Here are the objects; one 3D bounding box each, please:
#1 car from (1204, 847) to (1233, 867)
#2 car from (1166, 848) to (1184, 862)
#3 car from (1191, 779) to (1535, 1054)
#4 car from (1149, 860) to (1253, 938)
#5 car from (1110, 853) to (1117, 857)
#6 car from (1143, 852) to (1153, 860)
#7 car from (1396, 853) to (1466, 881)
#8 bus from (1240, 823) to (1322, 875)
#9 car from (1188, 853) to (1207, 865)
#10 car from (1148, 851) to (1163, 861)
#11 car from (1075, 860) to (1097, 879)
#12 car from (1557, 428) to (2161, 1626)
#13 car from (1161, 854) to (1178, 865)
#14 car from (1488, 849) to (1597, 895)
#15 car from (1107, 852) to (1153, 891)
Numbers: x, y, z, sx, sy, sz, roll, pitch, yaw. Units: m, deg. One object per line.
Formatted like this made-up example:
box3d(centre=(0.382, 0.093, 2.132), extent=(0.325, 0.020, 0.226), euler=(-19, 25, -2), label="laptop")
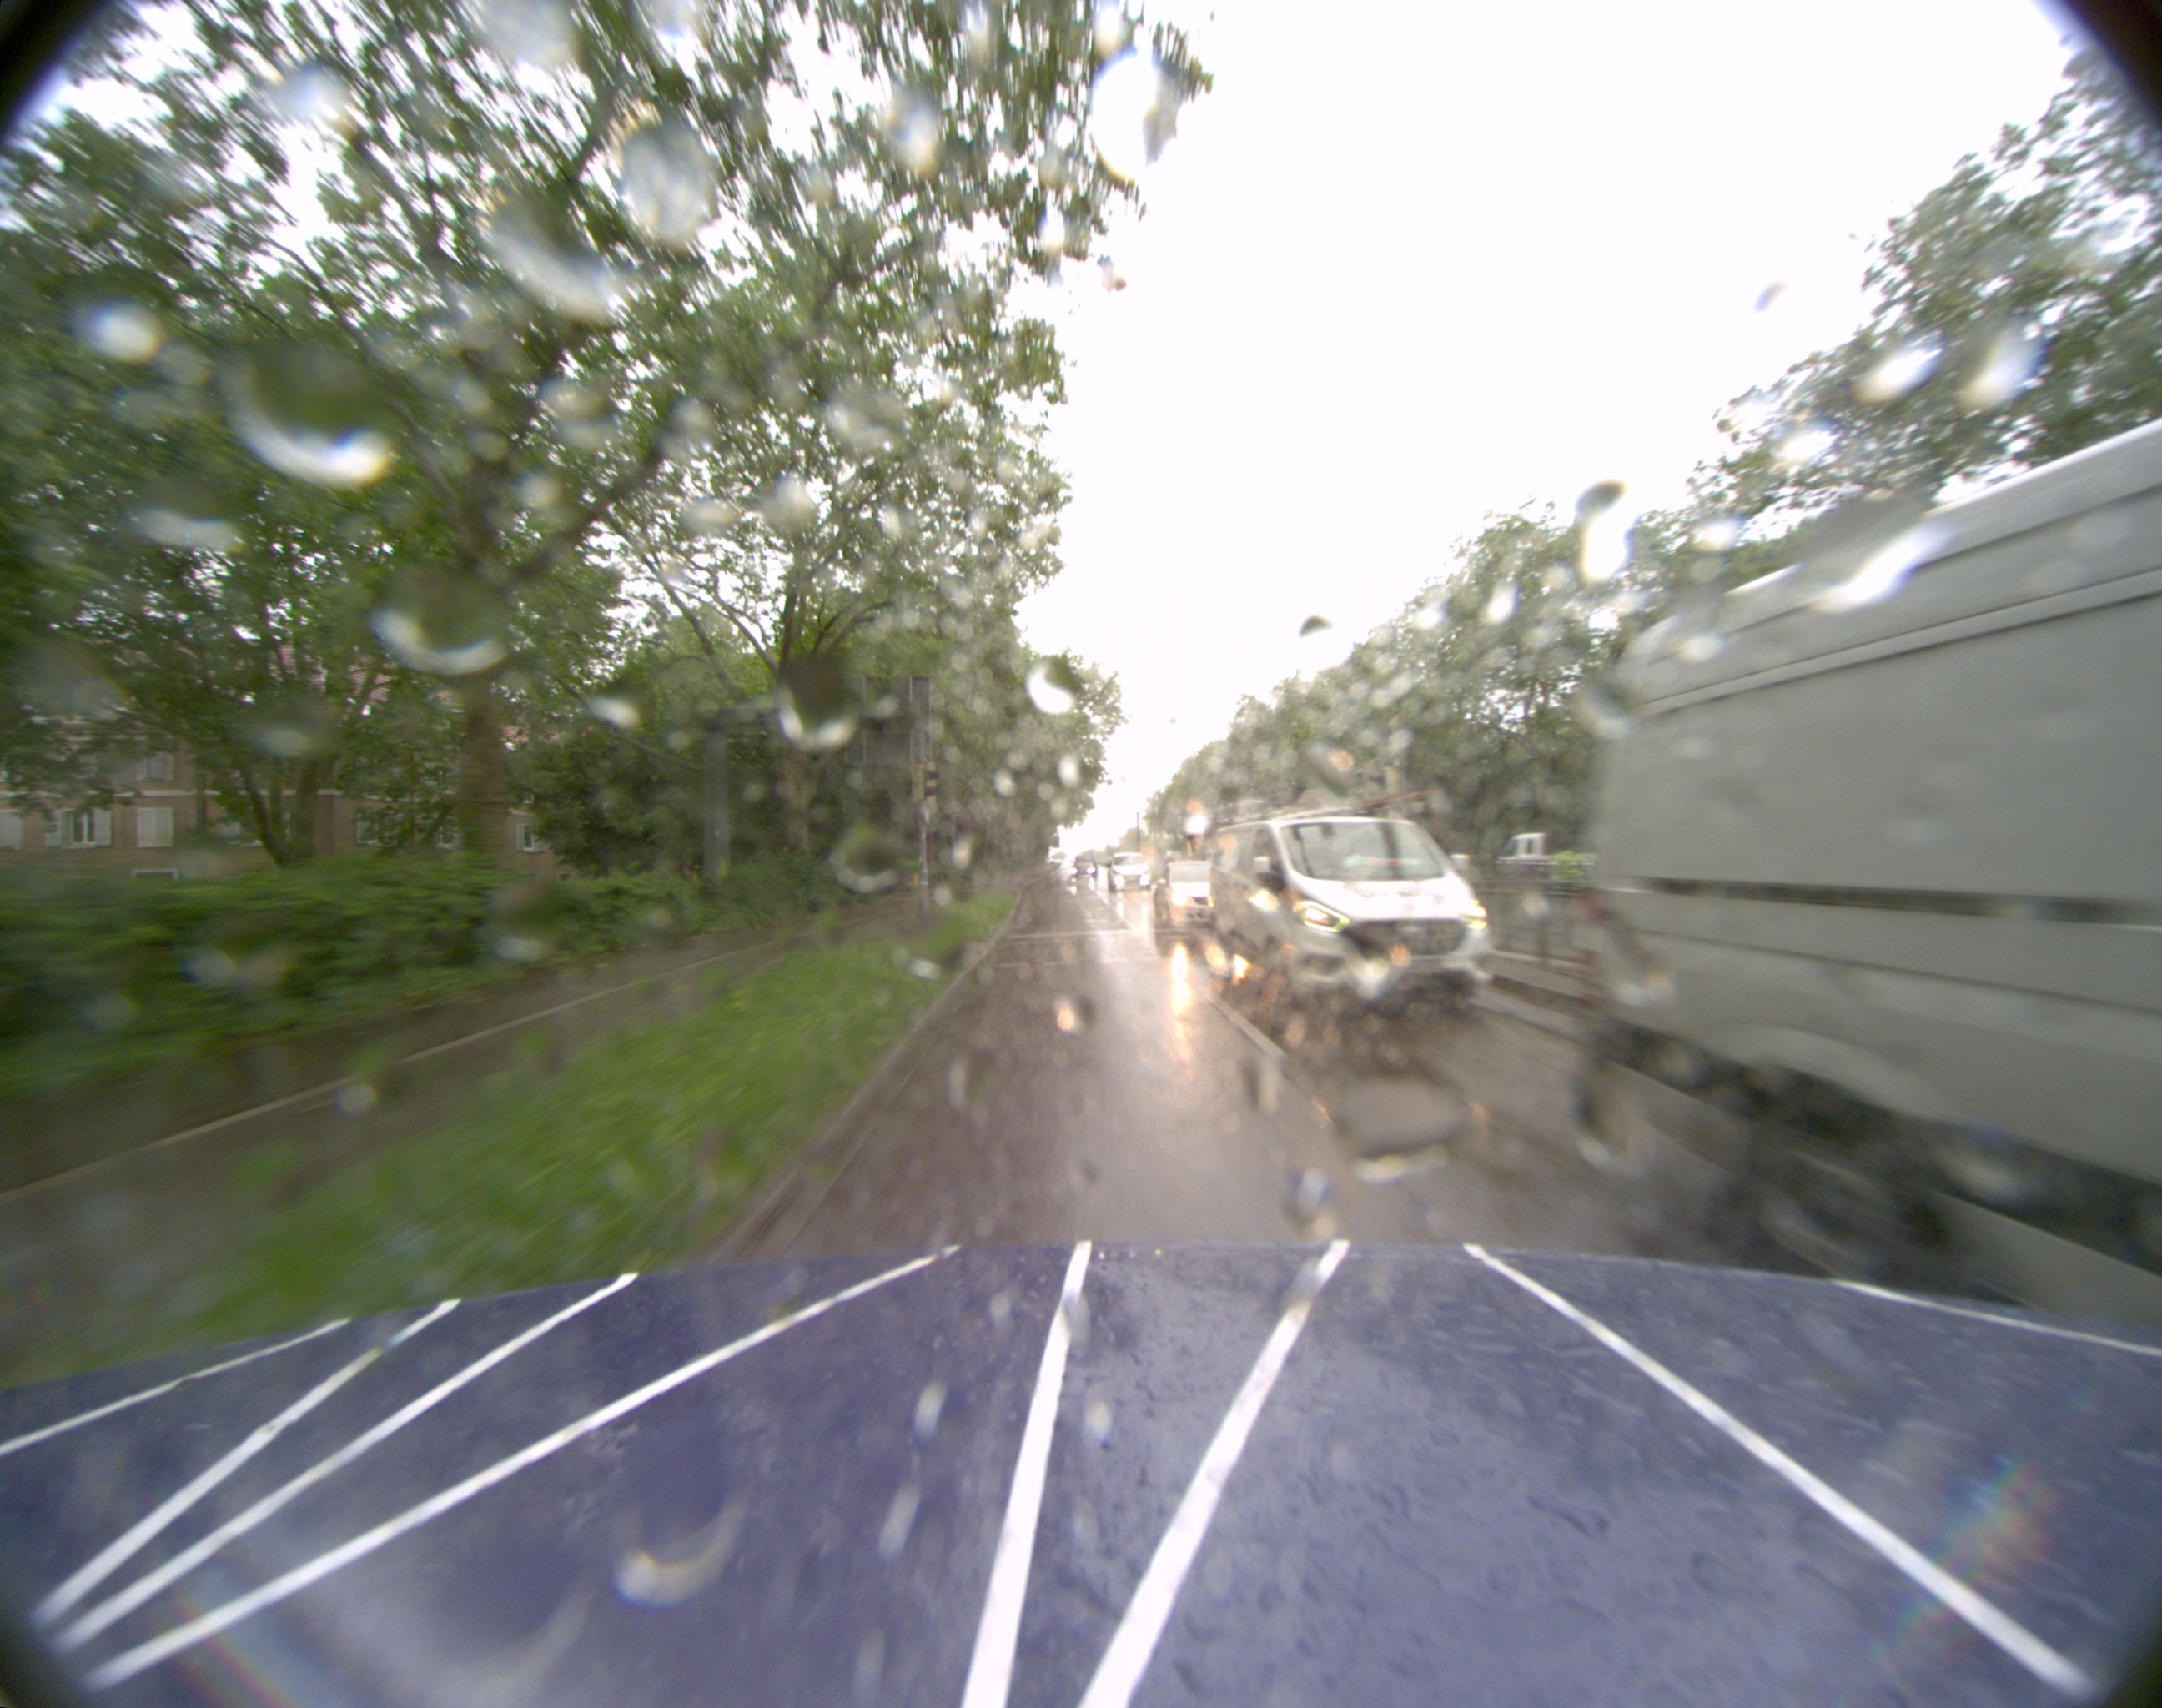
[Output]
box3d(centre=(18.260, 0.334, 101.212), extent=(2.396, 2.526, 6.564), euler=(0, 0, -3), label="car")
box3d(centre=(17.100, 0.118, 138.525), extent=(2.336, 2.432, 6.137), euler=(0, 1, -2), label="car")
box3d(centre=(2.761, 0.487, 9.016), extent=(1.999, 2.249, 5.287), euler=(-2, 1, -1), label="car")
box3d(centre=(2.636, 0.932, 17.445), extent=(1.730, 1.470, 3.804), euler=(-1, 1, -1), label="car")
box3d(centre=(11.206, 0.347, 261.770), extent=(1.984, 1.557, 4.767), euler=(0, 0, -3), label="car")
box3d(centre=(15.600, 0.436, 176.900), extent=(1.891, 1.640, 4.368), euler=(0, 0, -2), label="car")
box3d(centre=(21.758, 0.756, 47.413), extent=(2.037, 1.648, 4.608), euler=(0, 0, -3), label="car")
box3d(centre=(16.336, -0.420, 63.205), extent=(3.038, 3.816, 12.241), euler=(-2, 1, -2), label="bus")
box3d(centre=(17.854, 0.721, 116.637), extent=(1.962, 1.851, 4.639), euler=(0, 0, -2), label="car")
box3d(centre=(13.452, 0.321, 136.619), extent=(2.019, 1.648, 4.394), euler=(0, 0, -3), label="car")
box3d(centre=(0.422, 1.211, 62.224), extent=(1.726, 1.425, 3.851), euler=(-1, 0, 0), label="car")
box3d(centre=(3.468, 0.367, 0.529), extent=(2.336, 2.542, 6.112), euler=(-2, 1, -1), label="car")
box3d(centre=(13.995, 0.811, 120.317), extent=(2.037, 1.648, 4.275), euler=(0, 0, -4), label="car")
box3d(centre=(22.128, 0.821, 36.737), extent=(2.037, 2.080, 4.801), euler=(0, 0, -5), label="car")
box3d(centre=(2.173, 0.745, 34.703), extent=(1.869, 1.614, 4.262), euler=(-2, 0, 1), label="car")
